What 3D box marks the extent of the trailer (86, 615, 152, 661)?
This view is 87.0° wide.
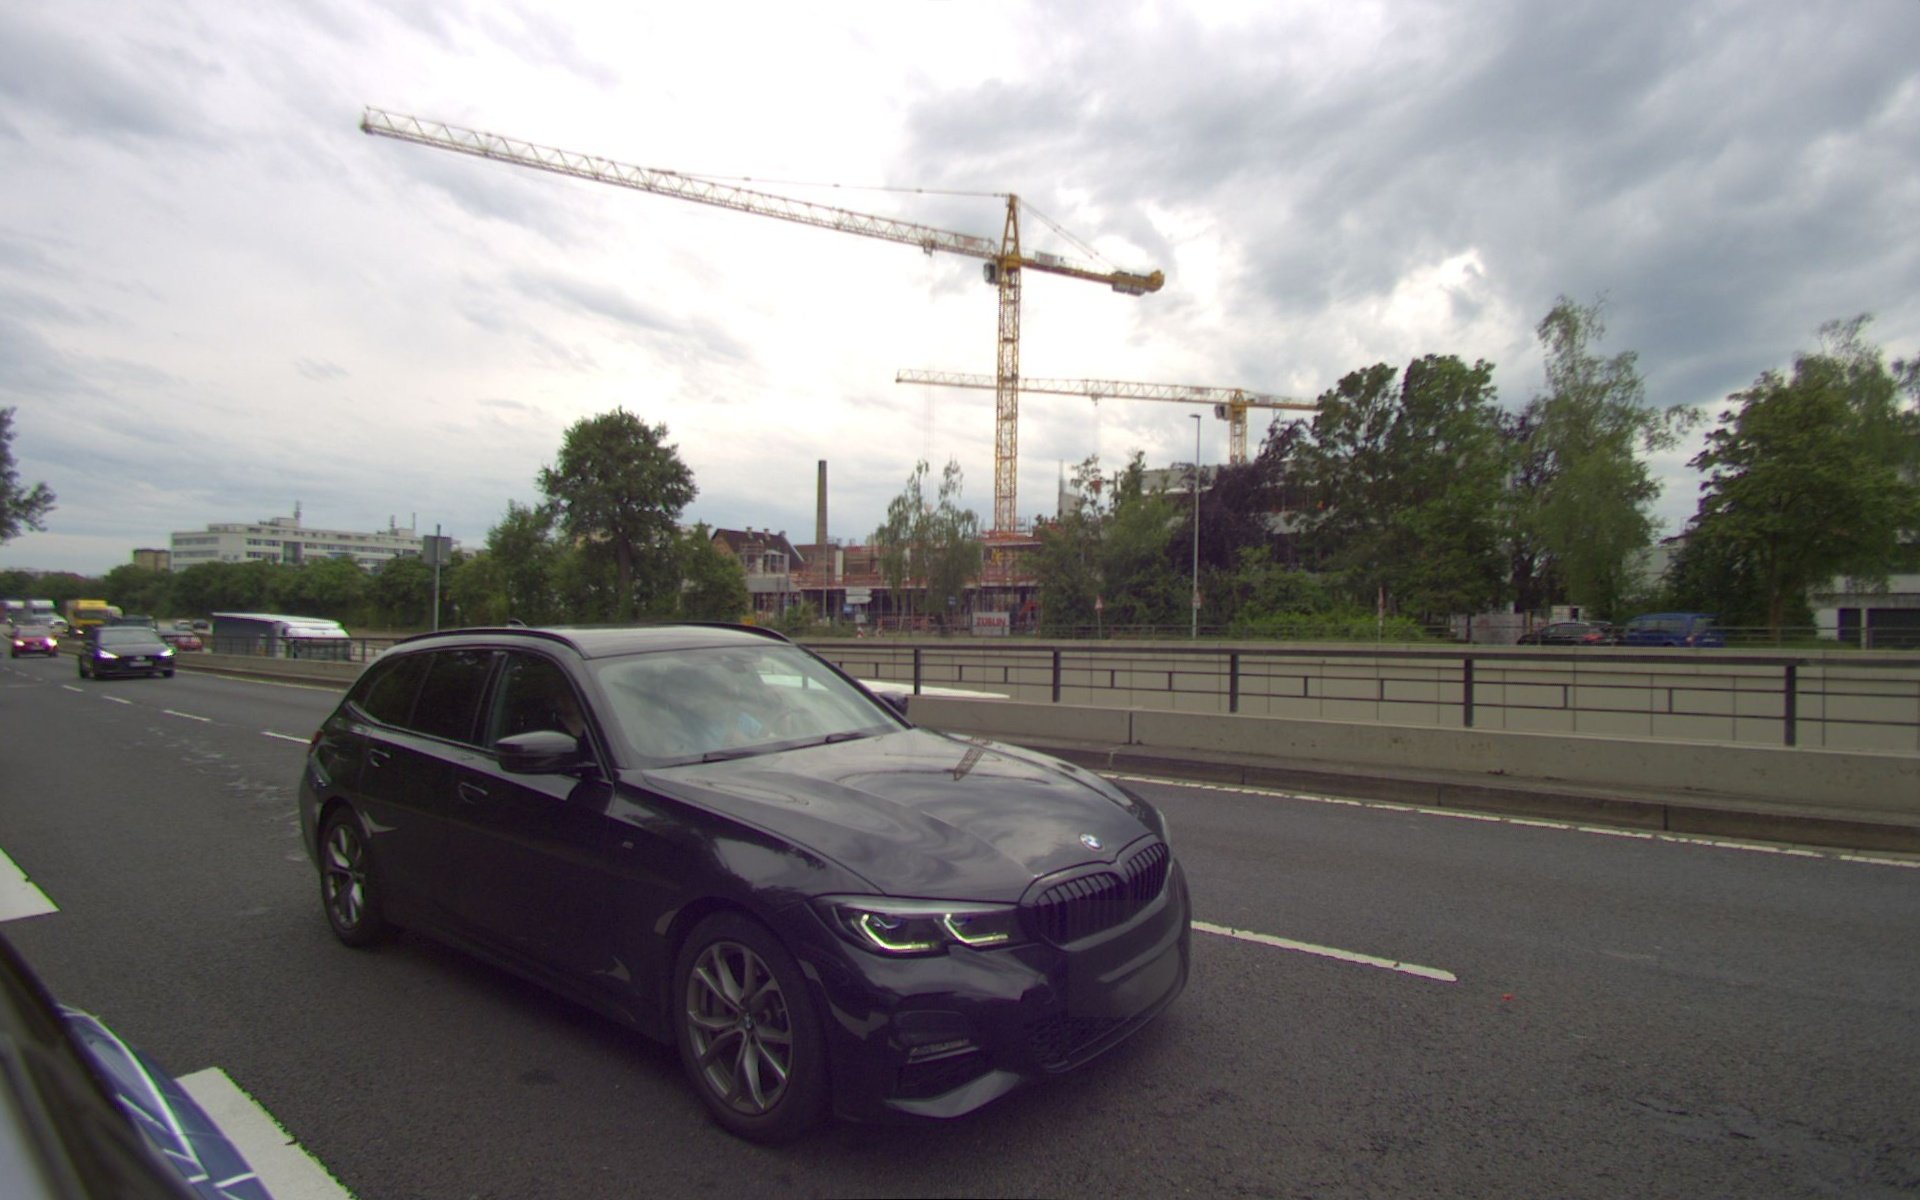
[{"bbox_3d":[-72.761,3.185,87.327,16.756,3.668,2.578,-1,-2,44],"label":"trailer"}]

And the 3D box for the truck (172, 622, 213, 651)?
[{"bbox_3d":[-116.022,5.449,152.925,13.783,4.067,2.916,-1,-2,44],"label":"truck"}]

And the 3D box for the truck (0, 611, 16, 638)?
[{"bbox_3d":[-119.578,3.070,125.830,2.915,3.210,13.789,2,-2,-44],"label":"truck"}]

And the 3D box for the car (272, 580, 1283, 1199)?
[{"bbox_3d":[-1.146,0.764,4.282,4.456,1.437,1.731,-3,-3,39],"label":"car"}]

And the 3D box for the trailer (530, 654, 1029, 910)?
[{"bbox_3d":[-5.053,3.466,23.327,14.543,4.067,2.624,-1,-2,40],"label":"trailer"}]

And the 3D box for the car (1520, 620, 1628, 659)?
[{"bbox_3d":[25.105,1.571,41.534,1.603,1.452,4.006,-1,0,-7],"label":"car"}]

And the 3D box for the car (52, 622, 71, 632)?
[{"bbox_3d":[-150.708,4.531,169.715,3.998,1.564,1.973,-1,-1,41],"label":"car"}]

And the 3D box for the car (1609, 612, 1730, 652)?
[{"bbox_3d":[27.954,1.227,40.041,1.603,1.452,4.006,-1,0,-7],"label":"car"}]

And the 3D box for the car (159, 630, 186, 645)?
[{"bbox_3d":[-79.682,3.747,102.396,4.001,1.452,1.605,-1,-1,44],"label":"car"}]

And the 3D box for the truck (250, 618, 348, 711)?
[{"bbox_3d":[-31.033,2.891,47.462,6.099,4.067,2.496,-1,-3,44],"label":"truck"}]

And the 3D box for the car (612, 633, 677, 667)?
[{"bbox_3d":[-23.740,3.726,76.018,5.224,2.479,2.311,-2,-2,41],"label":"car"}]

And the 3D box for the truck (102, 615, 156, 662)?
[{"bbox_3d":[-67.626,3.068,82.281,6.670,3.663,2.609,-1,-3,44],"label":"truck"}]

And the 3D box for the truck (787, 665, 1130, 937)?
[{"bbox_3d":[-0.179,3.377,19.130,6.197,4.067,2.678,-1,-2,40],"label":"truck"}]

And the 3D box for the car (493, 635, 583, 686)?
[{"bbox_3d":[-27.270,3.816,65.157,7.512,3.052,2.481,-2,-2,43],"label":"car"}]

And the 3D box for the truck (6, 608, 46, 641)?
[{"bbox_3d":[-91.229,2.384,98.761,2.489,3.001,13.789,2,-2,-44],"label":"truck"}]

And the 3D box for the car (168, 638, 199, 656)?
[{"bbox_3d":[-68.127,4.096,88.759,4.001,1.452,1.605,-1,-1,44],"label":"car"}]

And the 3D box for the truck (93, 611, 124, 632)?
[{"bbox_3d":[-170.609,4.306,202.704,13.781,4.067,3.028,-1,-2,44],"label":"truck"}]

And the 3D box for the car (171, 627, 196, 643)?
[{"bbox_3d":[-106.157,4.775,138.329,5.487,2.029,1.971,-2,-2,44],"label":"car"}]

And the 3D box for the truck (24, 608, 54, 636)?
[{"bbox_3d":[-140.339,3.406,154.144,2.914,4.067,13.790,2,-2,-44],"label":"truck"}]

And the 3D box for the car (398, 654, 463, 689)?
[{"bbox_3d":[-34.468,4.608,65.826,5.483,2.029,1.973,-2,-2,41],"label":"car"}]

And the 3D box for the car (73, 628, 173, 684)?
[{"bbox_3d":[-24.149,1.548,29.165,3.999,1.452,1.680,-1,-1,42],"label":"car"}]

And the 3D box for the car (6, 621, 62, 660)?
[{"bbox_3d":[-45.922,2.041,50.156,4.579,1.810,1.744,-4,-6,44],"label":"car"}]

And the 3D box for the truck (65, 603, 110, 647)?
[{"bbox_3d":[-89.820,2.596,104.138,6.521,4.377,2.853,-1,-3,44],"label":"truck"}]

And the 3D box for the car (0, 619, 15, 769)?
[{"bbox_3d":[-10.035,0.975,9.079,1.756,1.575,4.432,0,-1,-36],"label":"car"}]

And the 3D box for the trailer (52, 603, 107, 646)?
[{"bbox_3d":[-96.398,2.677,110.594,19.929,4.387,2.858,-1,-2,44],"label":"trailer"}]

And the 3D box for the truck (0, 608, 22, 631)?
[{"bbox_3d":[-171.300,3.525,182.030,13.775,4.067,2.497,-1,-2,42],"label":"truck"}]

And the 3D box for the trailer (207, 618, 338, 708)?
[{"bbox_3d":[-35.342,2.976,51.619,14.788,4.067,2.496,-1,-2,44],"label":"trailer"}]
